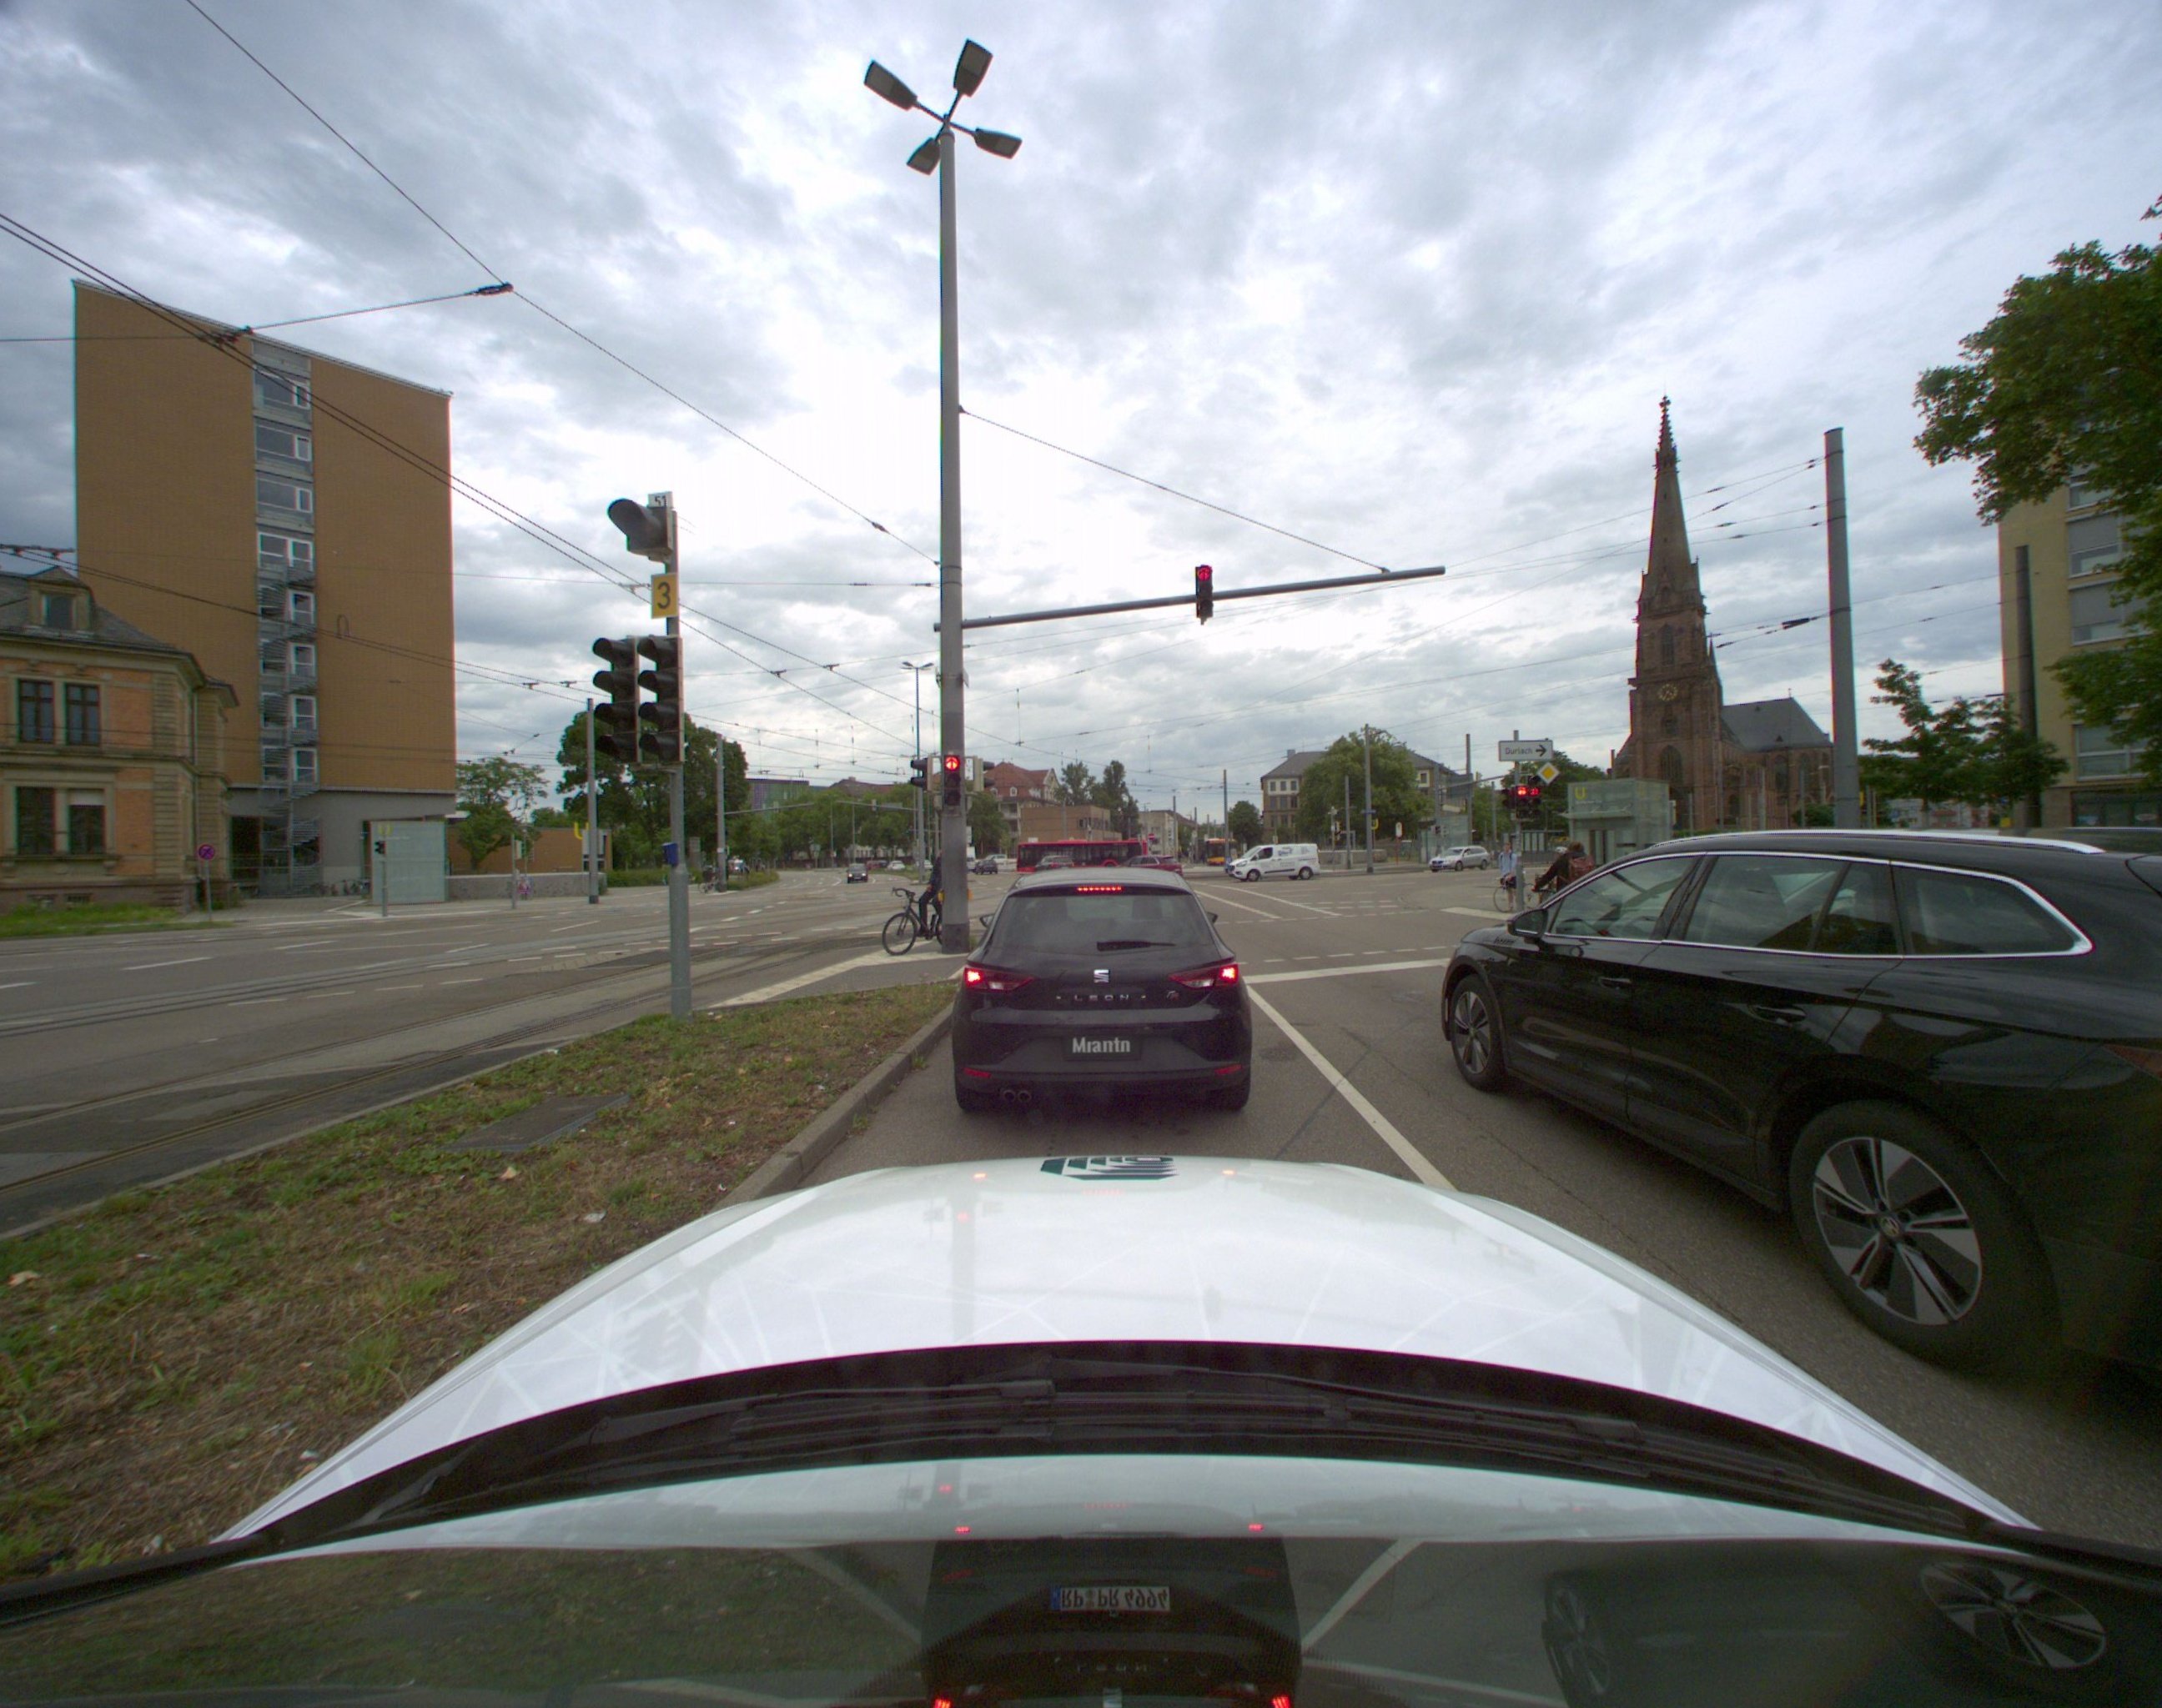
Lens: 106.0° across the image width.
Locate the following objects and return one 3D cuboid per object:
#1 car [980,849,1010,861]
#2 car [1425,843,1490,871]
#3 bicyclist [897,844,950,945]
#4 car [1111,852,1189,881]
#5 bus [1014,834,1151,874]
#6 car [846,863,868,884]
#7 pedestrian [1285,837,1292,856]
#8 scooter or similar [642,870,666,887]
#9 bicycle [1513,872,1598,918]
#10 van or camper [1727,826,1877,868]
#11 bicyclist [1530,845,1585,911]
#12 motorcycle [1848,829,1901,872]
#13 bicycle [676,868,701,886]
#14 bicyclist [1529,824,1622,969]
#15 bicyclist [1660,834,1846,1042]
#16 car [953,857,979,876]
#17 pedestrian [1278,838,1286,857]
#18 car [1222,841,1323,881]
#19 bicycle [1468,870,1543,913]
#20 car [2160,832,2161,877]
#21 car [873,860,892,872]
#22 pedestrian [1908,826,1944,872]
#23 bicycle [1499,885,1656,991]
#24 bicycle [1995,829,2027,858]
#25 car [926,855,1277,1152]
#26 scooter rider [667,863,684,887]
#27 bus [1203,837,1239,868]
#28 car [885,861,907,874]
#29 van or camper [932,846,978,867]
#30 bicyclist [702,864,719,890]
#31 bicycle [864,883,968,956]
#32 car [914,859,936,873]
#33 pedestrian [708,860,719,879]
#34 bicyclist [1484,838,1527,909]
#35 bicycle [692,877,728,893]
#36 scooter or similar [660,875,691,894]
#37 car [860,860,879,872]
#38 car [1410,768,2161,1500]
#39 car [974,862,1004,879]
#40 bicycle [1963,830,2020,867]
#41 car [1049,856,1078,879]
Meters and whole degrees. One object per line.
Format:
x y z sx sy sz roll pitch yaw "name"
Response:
-15.247 0.182 144.625 5.033 1.864 1.975 -2 -3 -42 "car"
22.955 0.152 49.559 4.652 1.482 1.706 -3 0 -40 "car"
-2.650 0.662 13.685 0.658 1.639 0.512 -2 -1 -38 "bicyclist"
4.019 0.762 47.980 4.150 1.600 1.876 -2 0 35 "car"
0.217 0.000 75.038 12.273 3.298 3.074 -2 -1 6 "bus"
-18.287 1.559 66.404 1.622 1.515 3.644 -3 0 -17 "car"
46.341 -1.594 181.822 1.302 4.253 1.347 -2 0 2 "pedestrian"
-36.092 2.048 68.840 1.781 1.302 0.624 -2 0 -30 "scooter or similar"
11.244 0.952 19.280 1.946 0.998 0.598 -1 0 -19 "bicycle"
37.506 -0.328 42.562 5.402 1.978 2.183 -2 0 20 "van or camper"
11.272 0.553 19.274 0.886 1.522 0.668 -1 0 -19 "bicyclist"
27.036 -0.143 27.732 2.304 1.366 1.035 -3 0 -40 "motorcycle"
-34.451 2.017 71.549 0.842 1.449 2.259 -2 0 7 "bicycle"
6.015 0.494 9.945 0.613 1.690 0.806 -2 0 -1 "bicyclist"
5.575 0.653 6.823 0.786 1.618 0.933 0 0 0 "bicyclist"
-12.843 1.328 90.760 2.000 2.013 3.973 -1 0 -20 "car"
44.799 -1.498 181.921 1.381 4.253 1.347 -2 0 2 "pedestrian"
10.490 0.374 44.733 5.011 2.019 1.995 -2 0 -7 "car"
10.866 0.938 20.835 1.996 0.998 0.575 -2 -1 -26 "bicycle"
37.360 -0.067 26.811 4.181 1.443 1.823 -3 0 -32 "car"
-31.258 1.847 128.073 2.005 1.750 3.964 -1 0 -28 "car"
33.431 -0.196 32.216 0.910 1.737 0.805 -2 0 -33 "pedestrian"
6.035 0.970 10.072 0.623 1.055 2.125 -2 0 0 "bicycle"
40.818 -0.462 35.736 2.048 1.169 0.663 -2 0 -34 "bicycle"
0.164 0.757 6.090 1.739 1.464 4.002 -1 0 2 "car"
-27.381 1.406 54.990 0.562 1.627 0.826 -2 0 23 "scooter rider"
16.325 -0.193 94.119 2.994 3.268 13.093 -2 0 14 "bus"
-24.641 1.762 108.360 2.003 1.640 3.968 -1 0 -24 "car"
-21.474 0.464 139.062 7.193 3.332 2.841 -2 -1 -43 "van or camper"
-24.877 1.527 54.673 0.815 1.656 0.789 -4 1 -18 "bicyclist"
-2.734 1.065 13.606 1.622 1.070 0.522 -2 -1 -38 "bicycle"
-20.855 1.561 108.476 2.003 1.750 3.968 -1 0 -24 "car"
-35.741 1.503 79.260 0.747 1.733 0.683 -2 0 -13 "pedestrian"
10.854 0.485 20.835 0.736 1.751 0.581 -2 0 -25 "bicyclist"
-24.900 2.081 54.657 2.119 1.028 0.790 2 0 -18 "bicycle"
-27.367 2.041 54.966 0.567 1.165 1.917 -2 0 23 "scooter or similar"
-31.576 1.757 121.352 2.004 1.772 3.965 -1 0 -26 "car"
3.393 0.609 3.781 1.897 1.658 4.514 -2 0 0 "car"
-9.026 1.615 79.564 2.000 1.539 3.973 -1 0 -20 "car"
36.106 -0.230 32.295 2.792 1.377 0.895 -2 0 -29 "bicycle"
-1.327 0.967 59.216 1.989 1.566 4.201 -2 0 -3 "car"
